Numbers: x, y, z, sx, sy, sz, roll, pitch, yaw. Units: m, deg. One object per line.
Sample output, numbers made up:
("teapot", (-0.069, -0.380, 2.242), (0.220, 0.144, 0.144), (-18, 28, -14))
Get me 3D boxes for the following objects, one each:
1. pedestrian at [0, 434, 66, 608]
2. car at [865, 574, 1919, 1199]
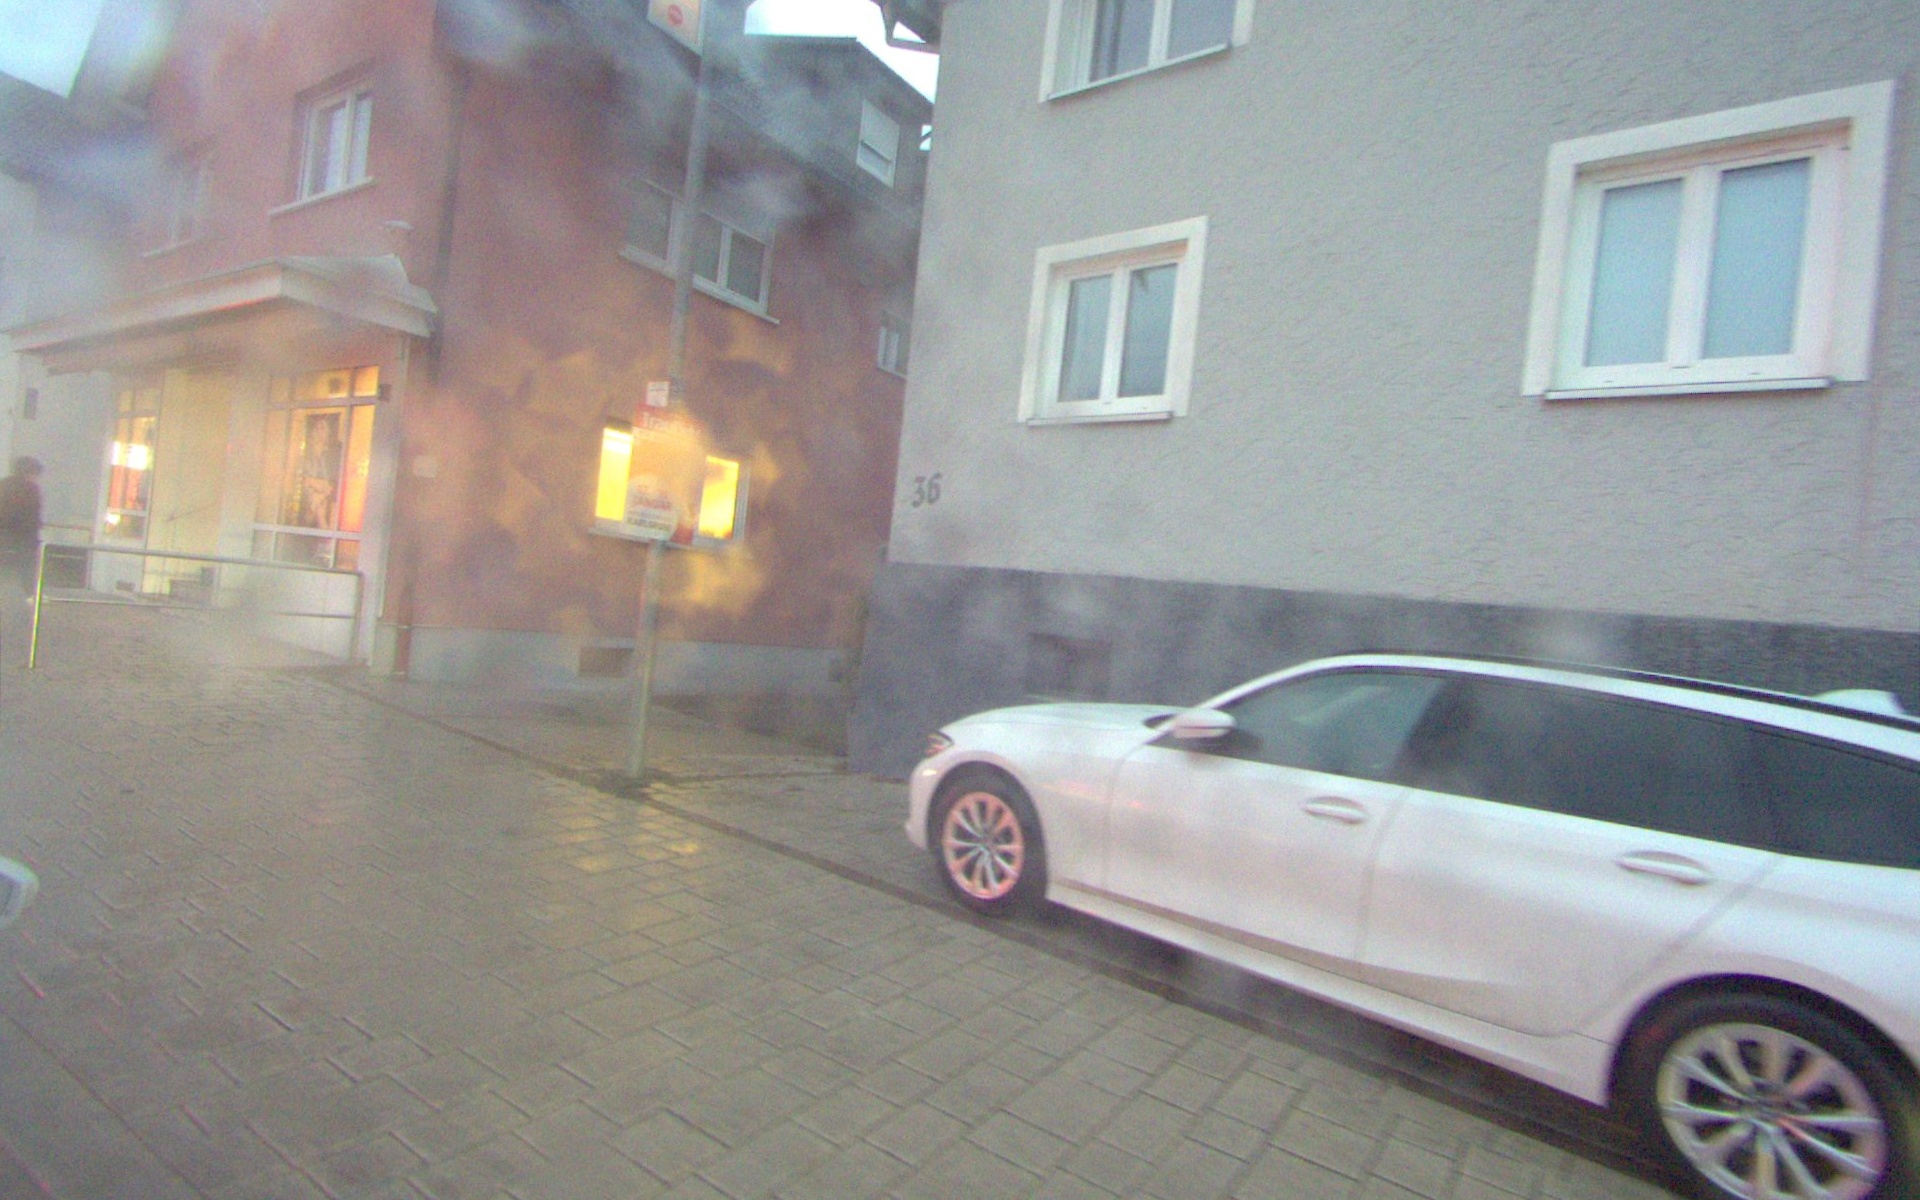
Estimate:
("pedestrian", (-11.052, -0.917, 11.707), (0.812, 1.910, 0.663), (6, -1, 38))
("car", (1.887, 0.891, 4.163), (4.478, 1.485, 1.880), (7, 1, 41))
